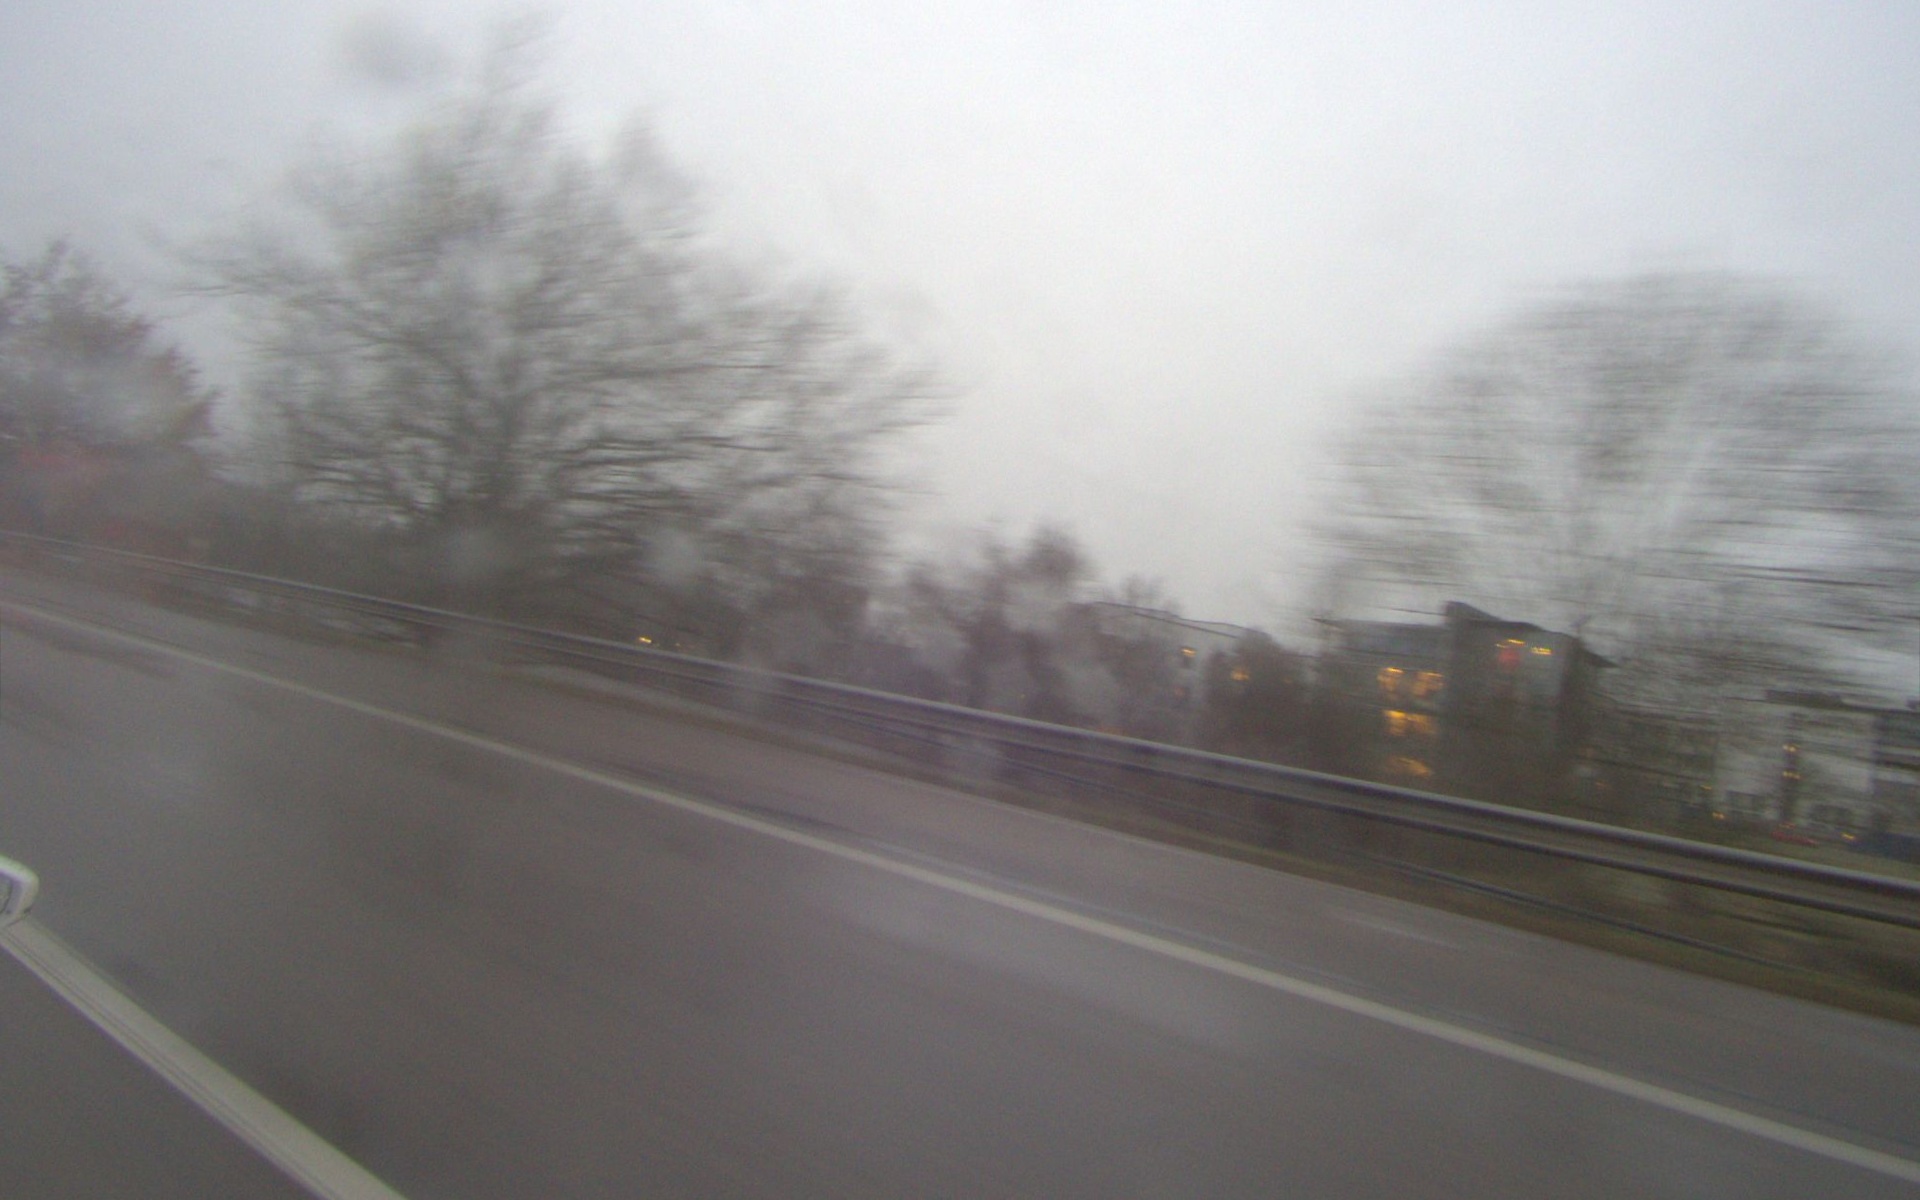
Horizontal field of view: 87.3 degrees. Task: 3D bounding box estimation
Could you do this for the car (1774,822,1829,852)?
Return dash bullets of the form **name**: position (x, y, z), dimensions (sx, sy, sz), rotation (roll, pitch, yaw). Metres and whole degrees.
- **car**: position (86.404, 24.329, 103.349), dimensions (3.939, 2.037, 1.995), rotation (7, -2, 37)
